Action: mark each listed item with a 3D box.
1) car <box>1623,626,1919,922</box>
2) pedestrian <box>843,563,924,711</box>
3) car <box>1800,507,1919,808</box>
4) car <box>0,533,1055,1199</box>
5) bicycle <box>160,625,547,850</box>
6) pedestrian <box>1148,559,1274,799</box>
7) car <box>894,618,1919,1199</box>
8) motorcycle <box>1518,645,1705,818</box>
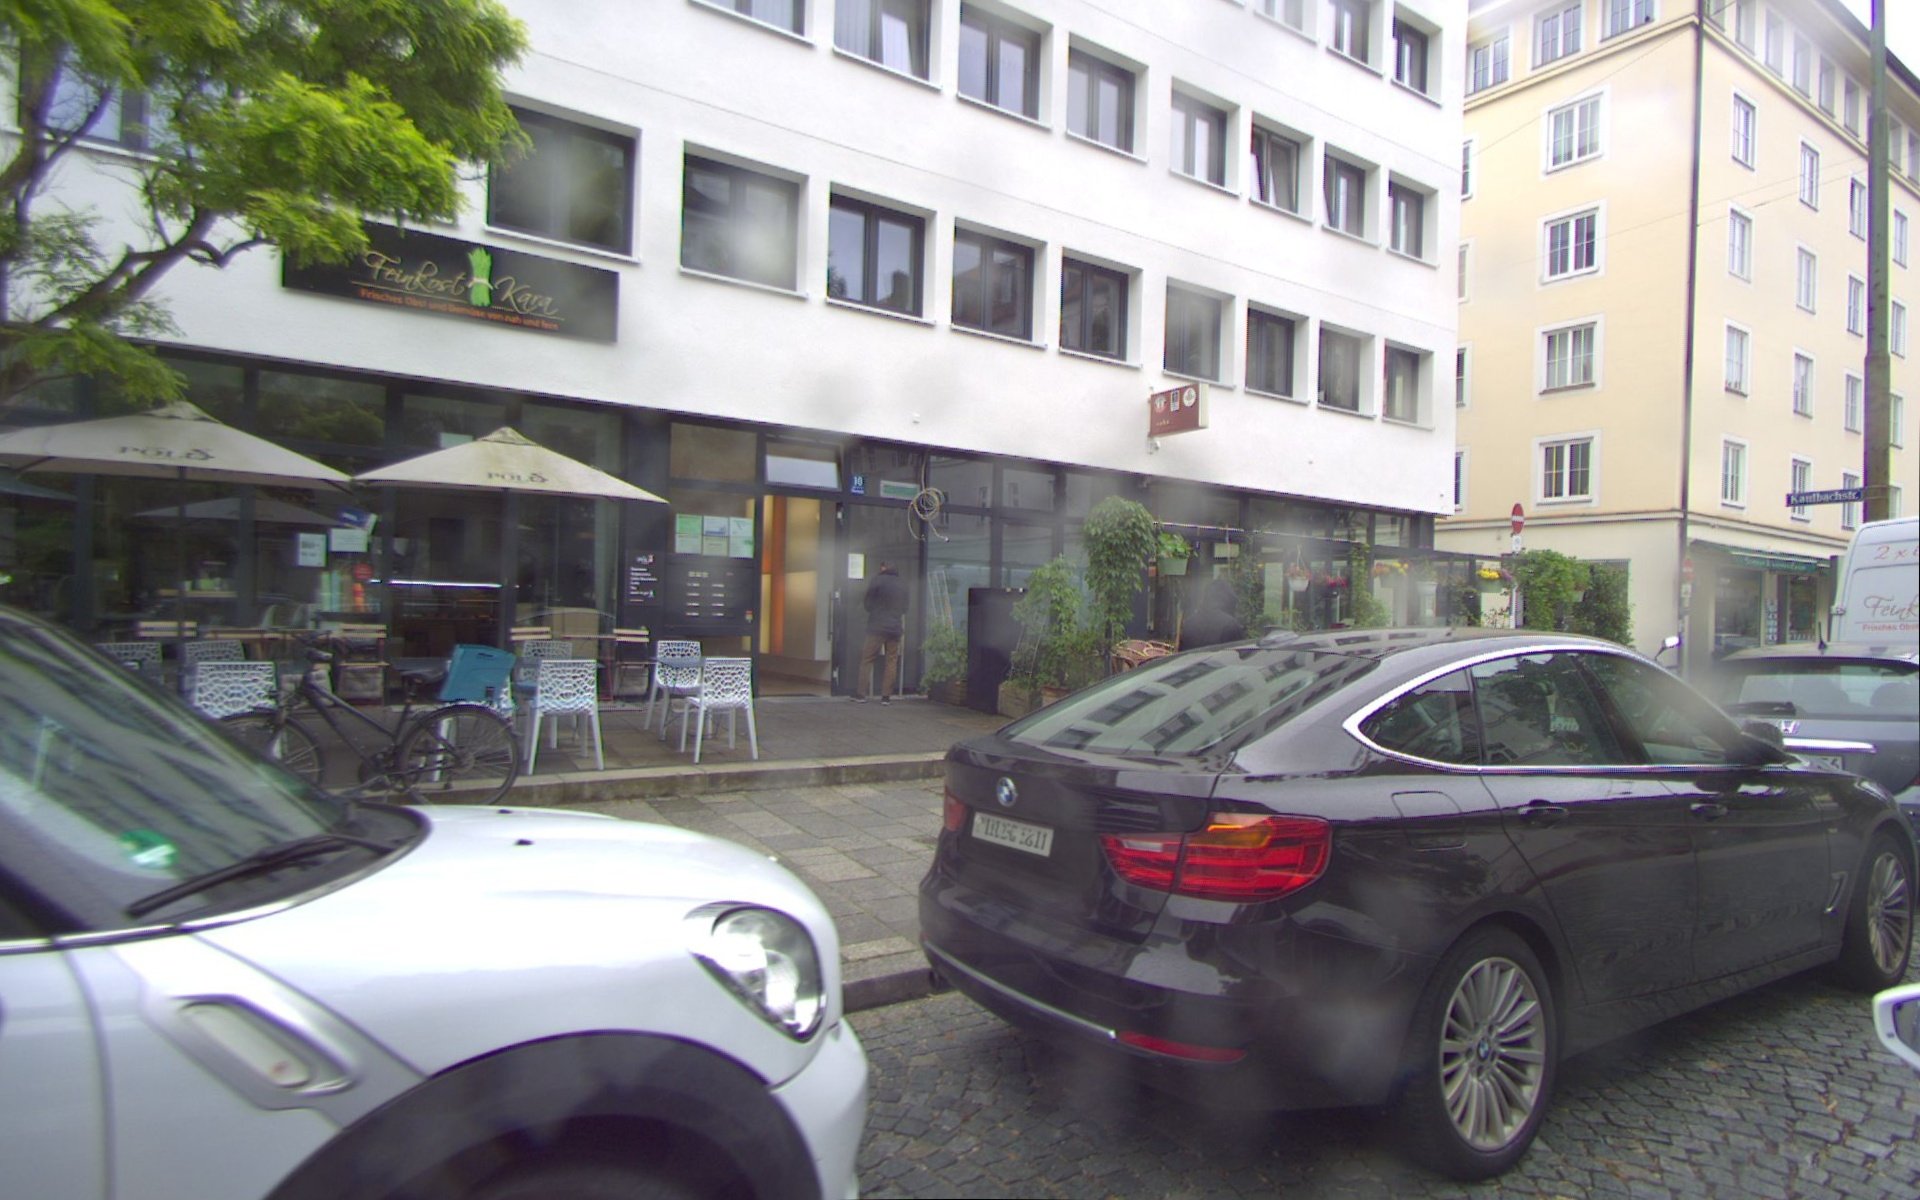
[{"bbox_3d":[6.322,0.995,6.838,3.942,1.502,1.651,3,-1,-35],"label":"car"},{"bbox_3d":[-0.914,0.418,11.917,0.774,1.683,0.552,0,2,-30],"label":"pedestrian"},{"bbox_3d":[10.850,0.596,10.035,5.727,2.607,1.968,2,-3,-31],"label":"car"},{"bbox_3d":[-1.874,0.666,1.628,3.732,1.524,1.685,2,-1,-30],"label":"car"},{"bbox_3d":[-3.525,0.776,6.003,1.889,1.190,0.358,2,-1,-30],"label":"bicycle"},{"bbox_3d":[2.081,0.629,8.314,0.807,1.864,0.608,2,-1,-39],"label":"pedestrian"},{"bbox_3d":[2.085,0.883,4.024,4.423,1.484,1.717,2,-3,-32],"label":"car"},{"bbox_3d":[5.942,1.129,9.115,2.038,1.387,0.670,2,-1,-35],"label":"motorcycle"}]
